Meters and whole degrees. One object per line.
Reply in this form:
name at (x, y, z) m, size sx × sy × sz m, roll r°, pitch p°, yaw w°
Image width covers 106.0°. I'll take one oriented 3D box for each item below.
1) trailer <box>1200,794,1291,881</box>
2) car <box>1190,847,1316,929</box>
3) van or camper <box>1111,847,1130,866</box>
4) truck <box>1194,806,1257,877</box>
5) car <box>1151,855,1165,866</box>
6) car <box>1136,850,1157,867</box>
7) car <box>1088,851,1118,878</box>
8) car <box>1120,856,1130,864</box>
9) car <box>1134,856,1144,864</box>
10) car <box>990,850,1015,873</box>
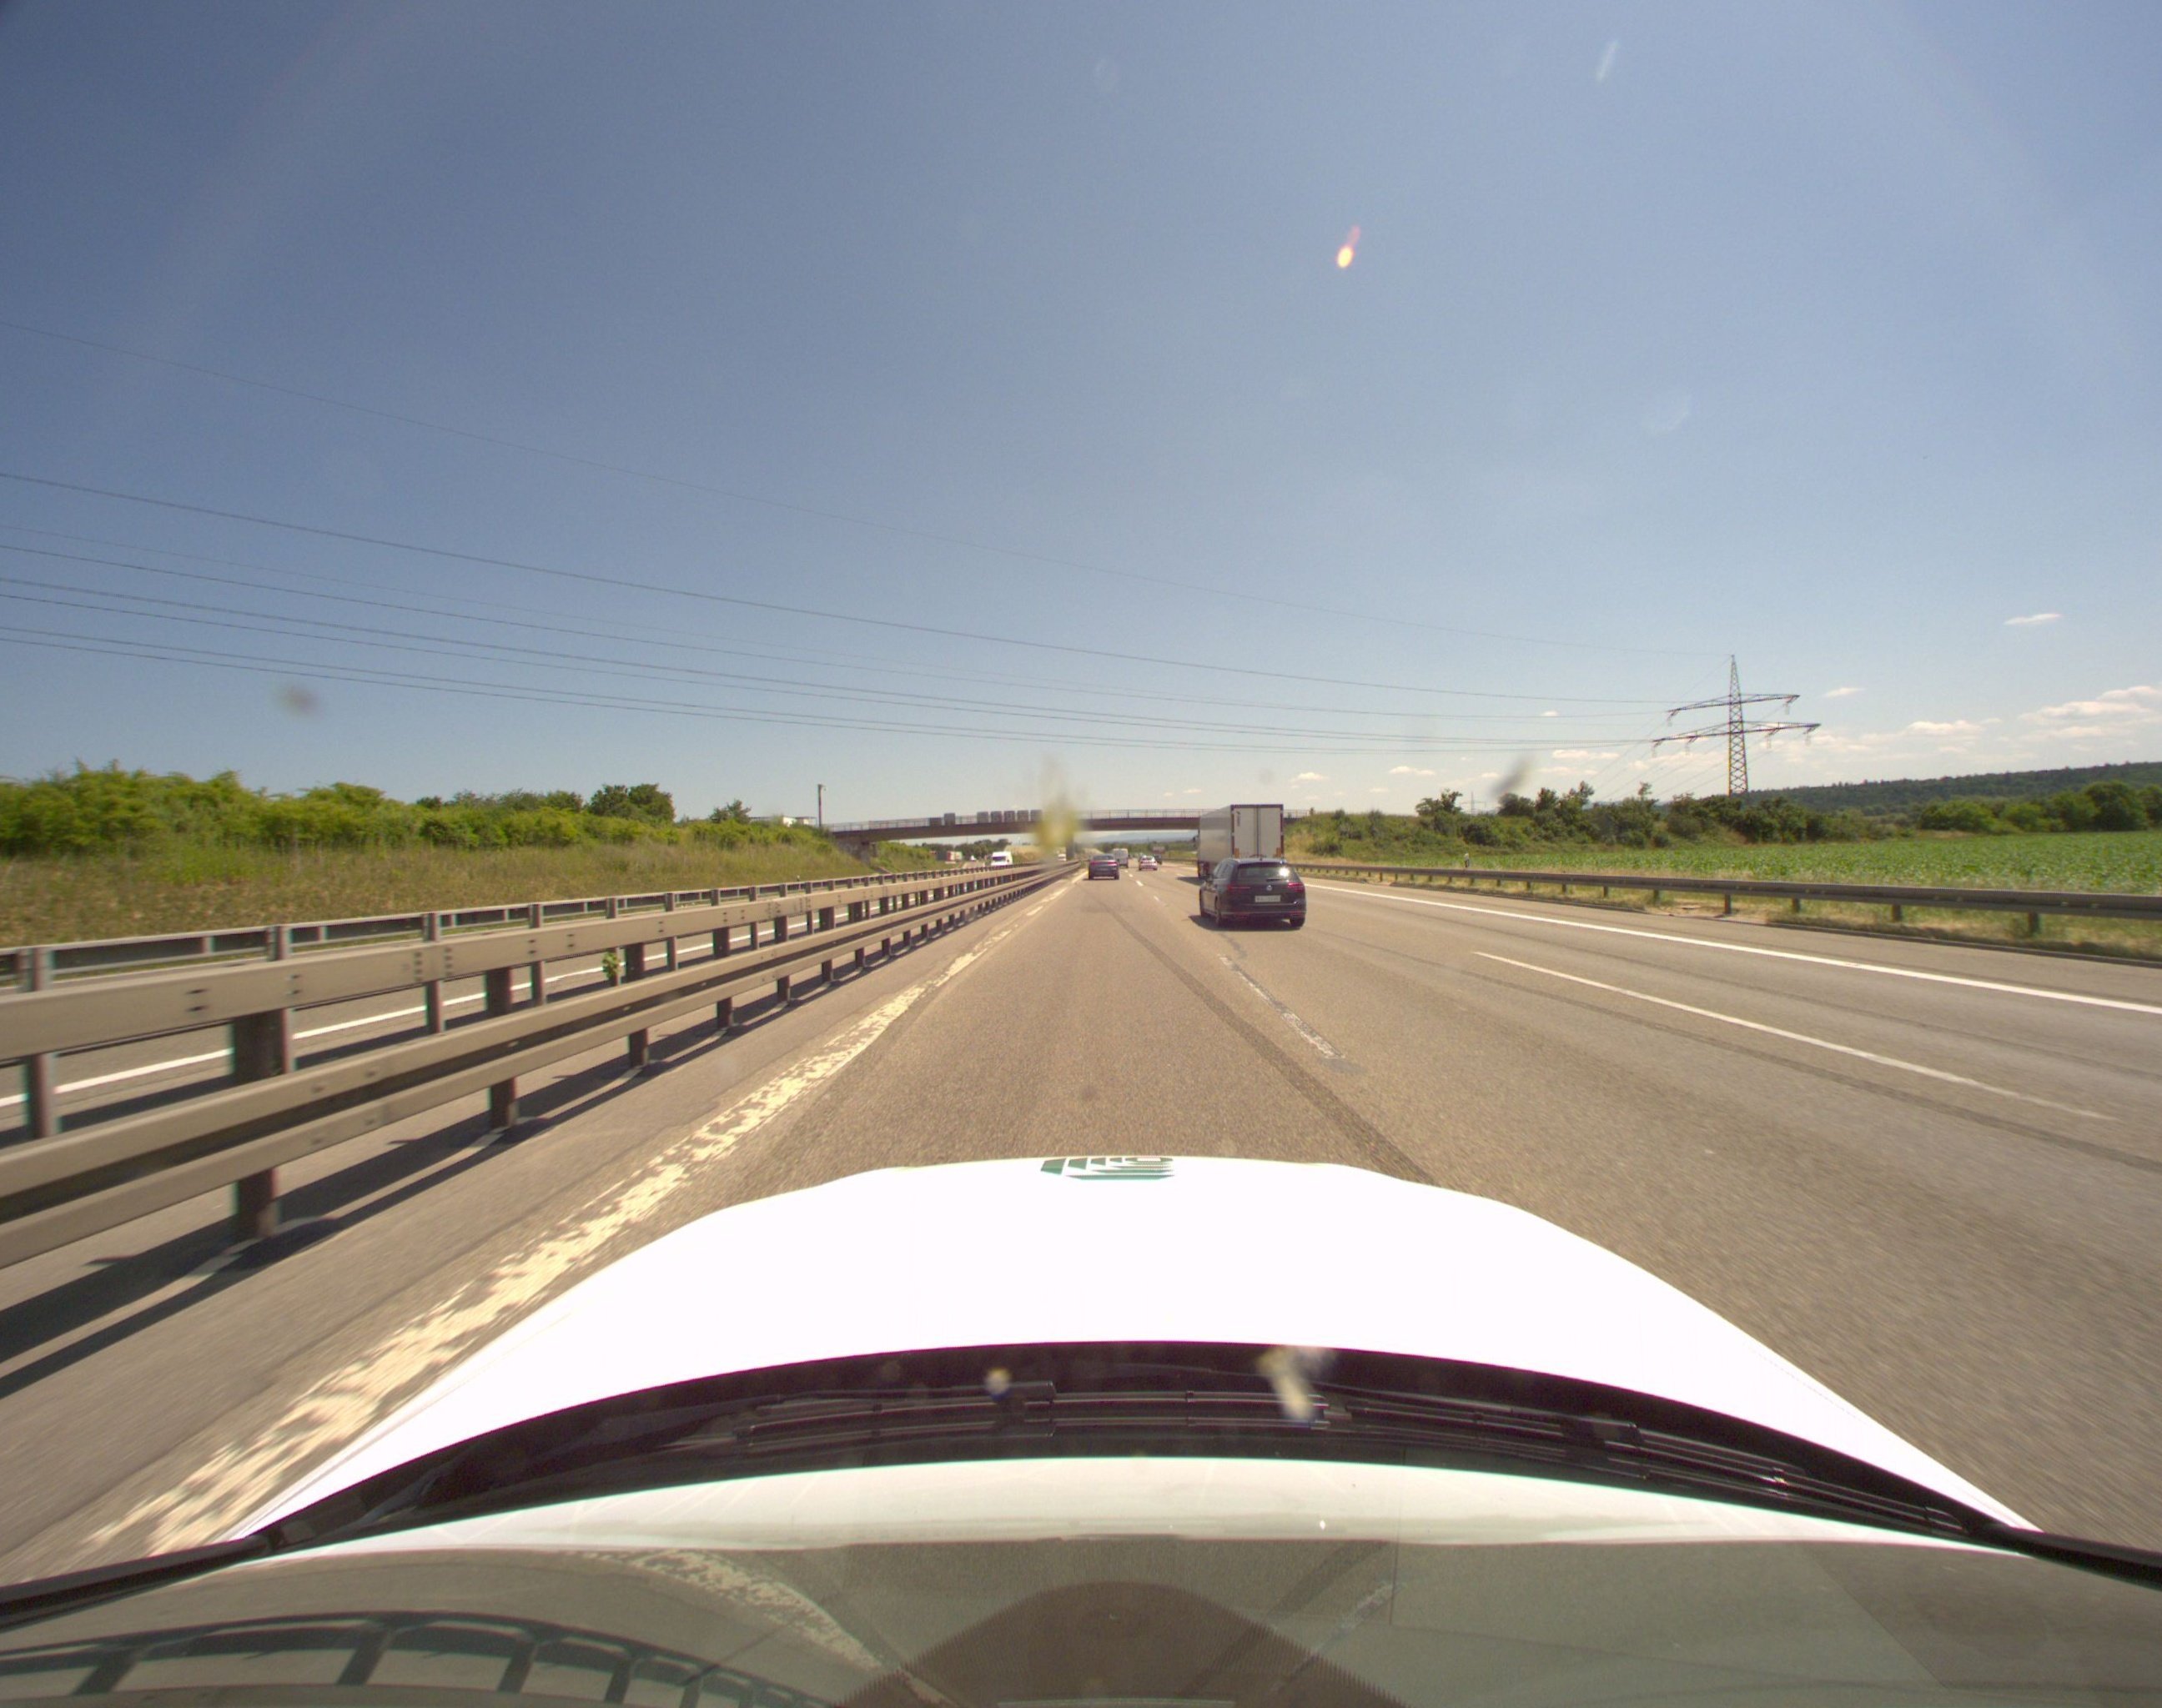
trailer at (8.988, -0.762, 46.368) m, size 2.932 × 4.198 × 13.603 m, roll 0°, pitch 0°, yaw 2°
car at (3.682, 0.675, 18.366) m, size 1.926 × 1.574 × 4.936 m, roll 0°, pitch 0°, yaw 2°
van or camper at (4.718, 0.255, 97.884) m, size 2.102 × 2.211 × 5.268 m, roll 0°, pitch 0°, yaw 2°
truck at (9.199, -0.742, 52.798) m, size 2.968 × 4.228 × 7.691 m, roll 0°, pitch 0°, yaw 2°
car at (12.472, 1.073, 132.262) m, size 1.986 × 1.683 × 4.002 m, roll 0°, pitch 0°, yaw 2°
car at (6.647, 0.486, 82.687) m, size 1.986 × 1.683 × 4.002 m, roll 0°, pitch 0°, yaw 2°
car at (1.395, 0.682, 52.859) m, size 1.846 × 1.664 × 3.733 m, roll 0°, pitch 0°, yaw -1°
car at (8.974, 1.267, 167.750) m, size 1.986 × 1.683 × 4.002 m, roll 0°, pitch 0°, yaw 2°
car at (12.596, 1.212, 177.154) m, size 1.986 × 1.683 × 4.002 m, roll 0°, pitch 0°, yaw 2°
car at (-9.373, 0.854, 97.883) m, size 2.024 × 2.605 × 7.603 m, roll 0°, pitch 0°, yaw 2°
